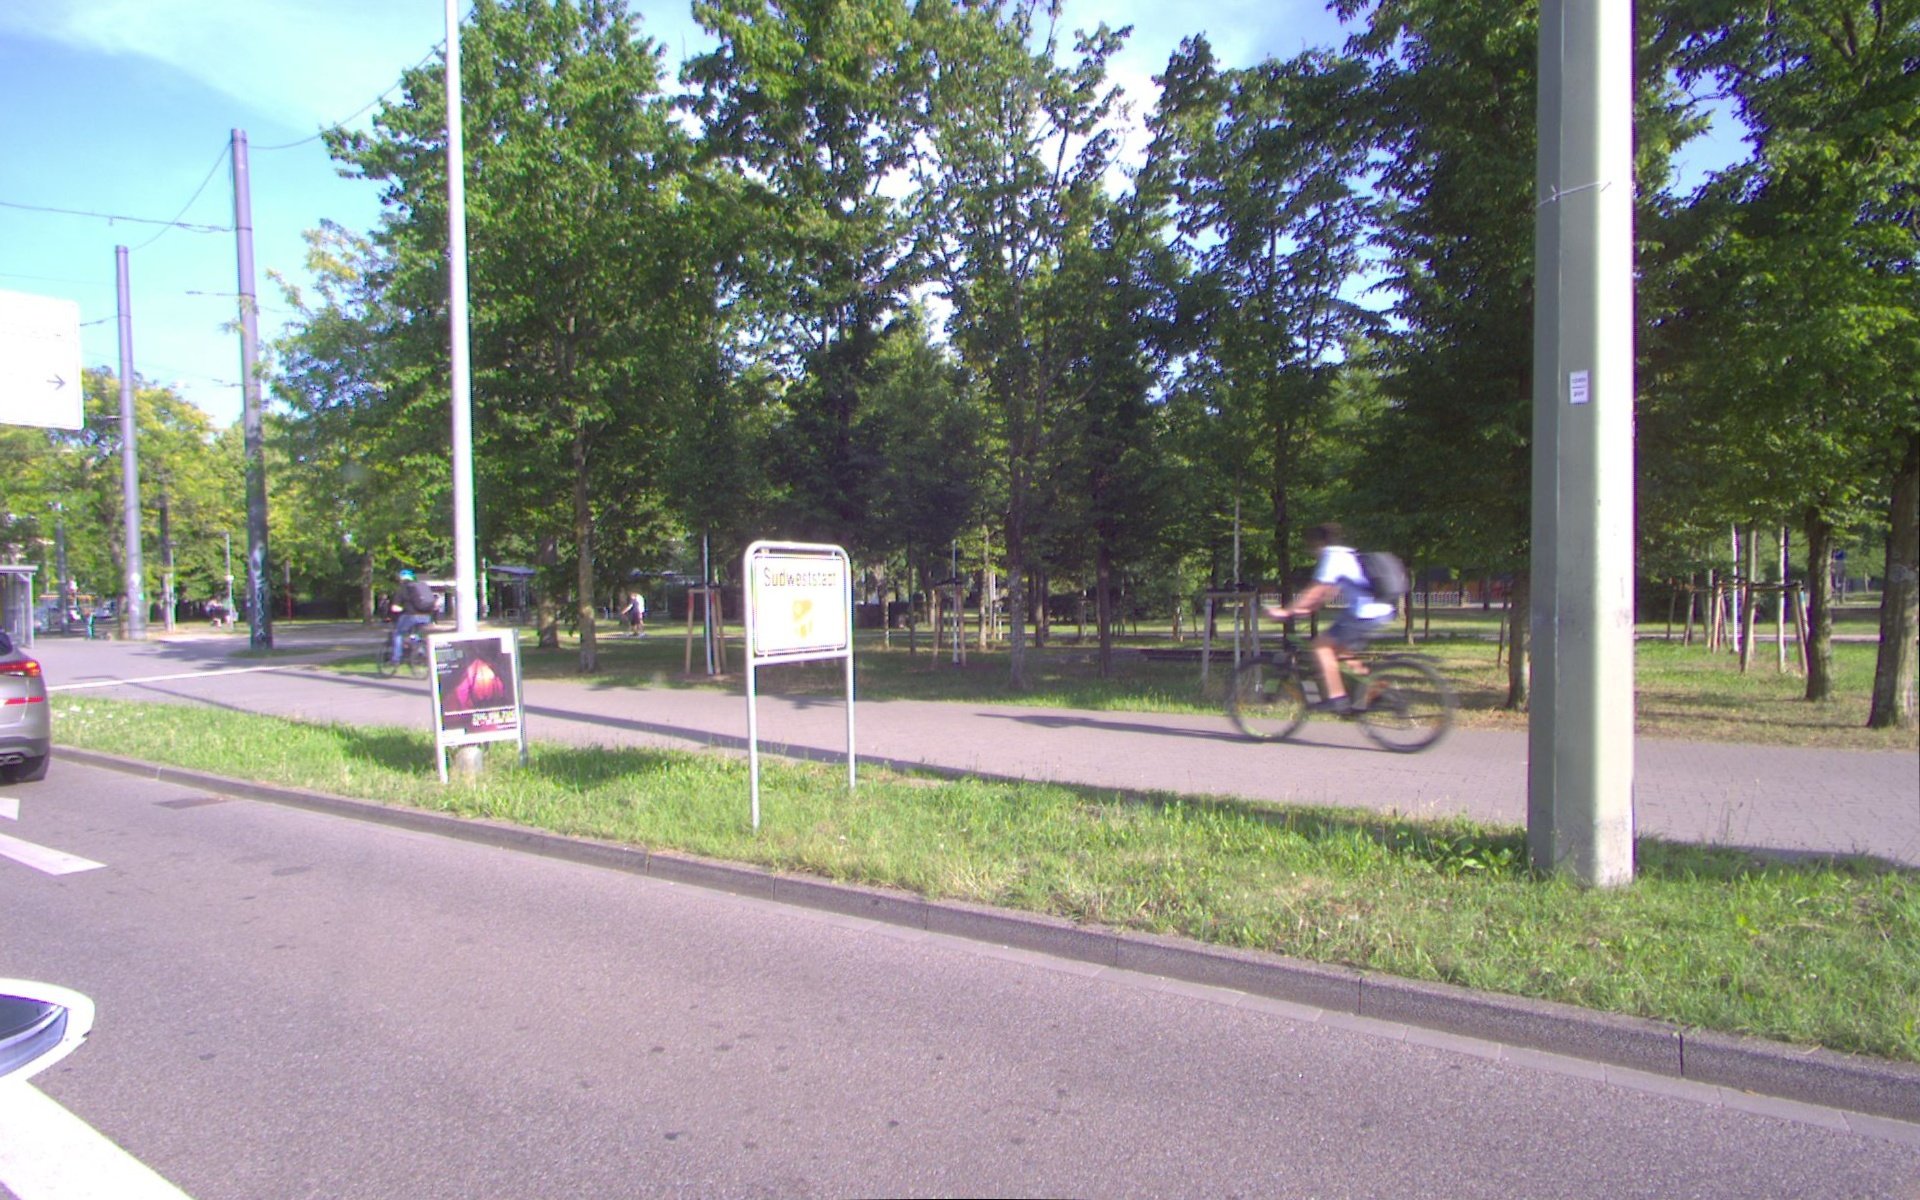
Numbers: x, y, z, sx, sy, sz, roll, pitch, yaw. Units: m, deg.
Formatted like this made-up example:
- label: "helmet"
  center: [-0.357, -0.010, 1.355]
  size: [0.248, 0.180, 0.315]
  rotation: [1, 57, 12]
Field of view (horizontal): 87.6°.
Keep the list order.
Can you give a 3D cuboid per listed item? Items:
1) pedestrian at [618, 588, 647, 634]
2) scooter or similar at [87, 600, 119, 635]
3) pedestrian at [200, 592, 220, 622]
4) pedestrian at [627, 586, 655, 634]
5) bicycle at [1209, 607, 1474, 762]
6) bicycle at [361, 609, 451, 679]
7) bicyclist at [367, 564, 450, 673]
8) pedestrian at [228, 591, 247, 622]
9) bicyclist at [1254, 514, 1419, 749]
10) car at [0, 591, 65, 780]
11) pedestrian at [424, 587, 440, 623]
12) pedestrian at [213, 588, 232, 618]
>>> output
- label: "pedestrian"
  center: [-13.058, 0.454, 39.908]
  size: [0.867, 1.800, 0.670]
  rotation: [0, -1, 33]
- label: "scooter or similar"
  center: [-31.444, 0.635, 36.743]
  size: [1.115, 1.248, 0.351]
  rotation: [0, 1, 18]
- label: "pedestrian"
  center: [-41.772, 0.373, 55.783]
  size: [0.681, 1.632, 0.639]
  rotation: [0, 1, 32]
- label: "pedestrian"
  center: [-12.976, 0.425, 40.756]
  size: [0.868, 1.922, 0.670]
  rotation: [0, -1, 33]
- label: "bicycle"
  center: [3.062, 0.633, 8.104]
  size: [1.912, 1.103, 0.639]
  rotation: [-1, 3, 32]
- label: "bicycle"
  center: [-9.473, 0.724, 17.101]
  size: [1.711, 1.103, 0.638]
  rotation: [0, 3, 36]
- label: "bicyclist"
  center: [-9.369, 0.297, 17.017]
  size: [1.125, 1.770, 0.717]
  rotation: [0, 4, 36]
- label: "pedestrian"
  center: [-39.807, 0.351, 55.166]
  size: [0.681, 1.688, 0.639]
  rotation: [0, 1, 32]
- label: "bicyclist"
  center: [3.039, 0.229, 8.070]
  size: [1.123, 1.770, 0.647]
  rotation: [-1, 4, 31]
- label: "car"
  center: [-10.074, 0.745, 9.194]
  size: [3.760, 1.621, 1.832]
  rotation: [0, -1, 32]
- label: "pedestrian"
  center: [-27.692, 0.279, 52.494]
  size: [0.594, 1.891, 0.462]
  rotation: [0, -1, 8]
- label: "pedestrian"
  center: [-40.921, 0.169, 55.568]
  size: [0.681, 1.688, 0.639]
  rotation: [0, 1, 32]
